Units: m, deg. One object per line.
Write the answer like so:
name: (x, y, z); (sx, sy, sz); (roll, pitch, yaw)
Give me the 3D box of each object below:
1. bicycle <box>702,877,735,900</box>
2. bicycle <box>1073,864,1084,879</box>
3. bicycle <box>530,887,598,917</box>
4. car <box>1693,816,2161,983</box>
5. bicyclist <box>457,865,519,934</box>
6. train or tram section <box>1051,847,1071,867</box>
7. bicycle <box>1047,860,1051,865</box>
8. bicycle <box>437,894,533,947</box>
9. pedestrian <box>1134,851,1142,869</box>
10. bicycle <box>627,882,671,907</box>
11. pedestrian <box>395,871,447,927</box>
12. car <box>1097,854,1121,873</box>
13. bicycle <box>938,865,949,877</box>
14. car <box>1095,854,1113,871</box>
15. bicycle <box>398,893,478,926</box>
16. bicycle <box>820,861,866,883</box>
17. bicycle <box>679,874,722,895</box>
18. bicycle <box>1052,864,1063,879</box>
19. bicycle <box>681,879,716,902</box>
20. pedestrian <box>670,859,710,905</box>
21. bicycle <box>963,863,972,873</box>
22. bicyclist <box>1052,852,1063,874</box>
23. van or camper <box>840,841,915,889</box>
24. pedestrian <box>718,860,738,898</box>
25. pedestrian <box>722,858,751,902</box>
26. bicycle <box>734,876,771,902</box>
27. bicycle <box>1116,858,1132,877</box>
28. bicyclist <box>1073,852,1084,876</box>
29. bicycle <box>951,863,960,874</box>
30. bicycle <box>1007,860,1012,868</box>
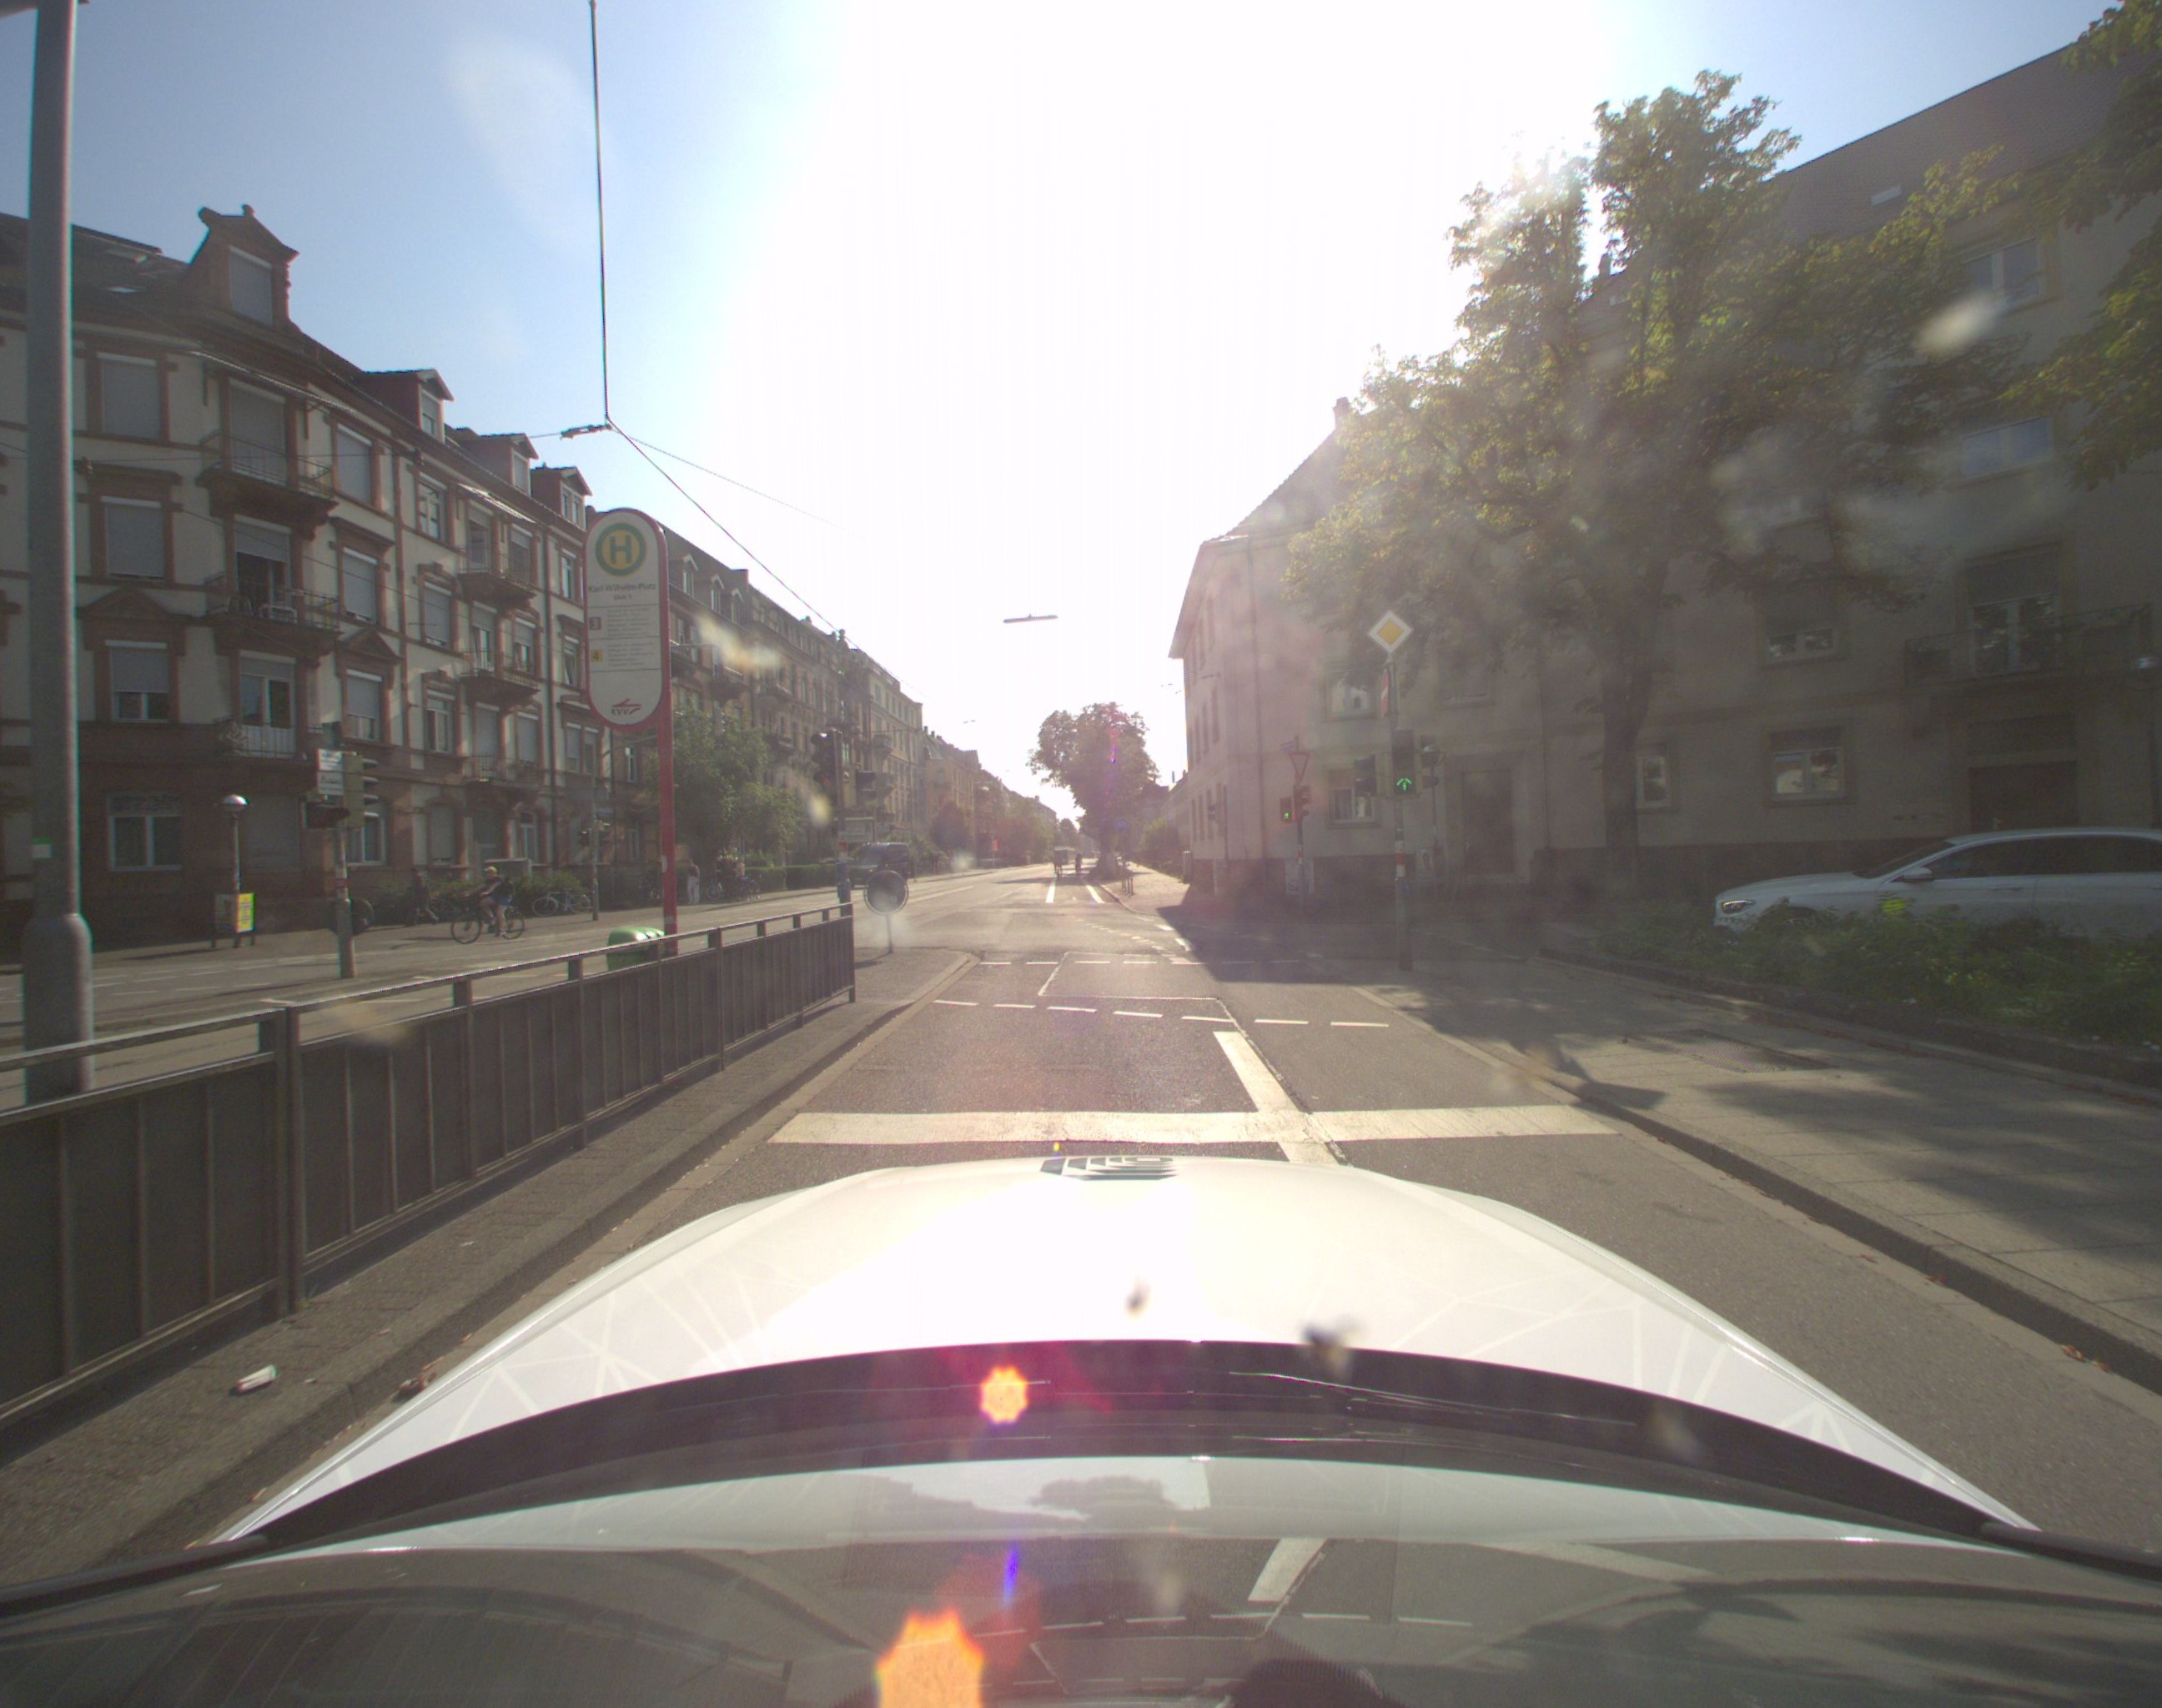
bicycle: (-15.968, 1.509, 35.897); (0.524, 0.927, 1.705); (-2, 0, 5)
bicycle: (-0.142, 1.077, 50.679); (0.652, 0.909, 1.775); (0, 0, 1)
bicycle: (-17.508, 1.611, 27.615); (0.521, 0.860, 1.840); (-2, 0, 40)
car: (9.929, 0.442, 8.966); (4.891, 1.469, 1.888); (-3, 2, 42)
bicyclist: (-14.496, 1.096, 19.945); (0.670, 1.614, 1.045); (-2, 0, 4)
train or tram section: (-3.693, 0.540, 152.925); (2.724, 3.505, 15.438); (-2, 0, 2)
bicycle: (-8.136, 2.190, 206.851); (0.558, 1.221, 2.116); (-2, -1, 4)
bicycle: (-14.489, 1.579, 19.878); (0.681, 1.103, 2.071); (-2, 0, 4)
pedestrian: (5.820, 0.619, 82.882); (0.748, 1.749, 0.880); (-2, 0, 8)
bicycle: (-16.587, 1.551, 31.305); (0.524, 0.860, 1.831); (-2, 0, 5)
pedestrian: (-19.190, 1.294, 23.679); (0.831, 1.571, 0.952); (-2, 0, 35)
car: (2.475, 0.789, 72.196); (1.636, 1.540, 3.850); (-4, -1, 7)
bicycle: (-13.065, 1.585, 77.562); (0.604, 1.058, 1.841); (2, 0, 4)
car: (2.310, 0.824, 80.041); (1.639, 1.448, 4.248); (-4, -1, 2)
bicycle: (-19.606, 1.669, 24.858); (0.521, 0.860, 1.840); (-2, 0, 40)
bicycle: (-16.518, 1.234, 56.644); (2.870, 1.455, 0.996); (-1, 0, -5)
bicycle: (-17.247, 1.386, 36.934); (1.690, 0.860, 0.528); (-2, 0, 2)
bicycle: (-1.462, 1.093, 51.126); (0.624, 0.909, 1.525); (0, -1, 1)
bicycle: (-16.060, 1.533, 34.204); (0.524, 0.860, 1.705); (-2, 0, 5)
pedestrian: (-15.580, 1.088, 32.502); (0.900, 1.766, 1.187); (-2, 0, 5)
bicycle: (-12.610, 1.574, 90.521); (0.542, 1.058, 1.841); (2, 0, 4)
bicyclist: (-1.449, 0.558, 51.142); (0.624, 1.401, 0.929); (0, -1, 1)
van or camper: (-12.272, 0.648, 49.625); (2.038, 2.644, 6.105); (-3, -1, 9)
pedestrian: (-15.794, 1.113, 36.446); (0.637, 1.678, 0.631); (-2, 0, -10)
pedestrian: (-14.579, 1.079, 34.493); (0.725, 1.806, 1.093); (-2, 0, 0)
bicycle: (-14.048, 1.479, 34.869); (0.616, 1.007, 2.151); (-2, 0, 2)
bicycle: (2.537, 0.789, 48.440); (0.769, 1.104, 2.333); (-2, 0, 0)
bicyclist: (-0.137, 0.638, 50.669); (0.652, 1.474, 0.909); (0, -1, 1)
bicycle: (-12.857, 1.503, 83.496); (0.542, 1.058, 1.841); (2, 0, 4)
bicycle: (-11.071, 1.561, 125.619); (0.506, 1.108, 2.004); (-2, -1, 2)
